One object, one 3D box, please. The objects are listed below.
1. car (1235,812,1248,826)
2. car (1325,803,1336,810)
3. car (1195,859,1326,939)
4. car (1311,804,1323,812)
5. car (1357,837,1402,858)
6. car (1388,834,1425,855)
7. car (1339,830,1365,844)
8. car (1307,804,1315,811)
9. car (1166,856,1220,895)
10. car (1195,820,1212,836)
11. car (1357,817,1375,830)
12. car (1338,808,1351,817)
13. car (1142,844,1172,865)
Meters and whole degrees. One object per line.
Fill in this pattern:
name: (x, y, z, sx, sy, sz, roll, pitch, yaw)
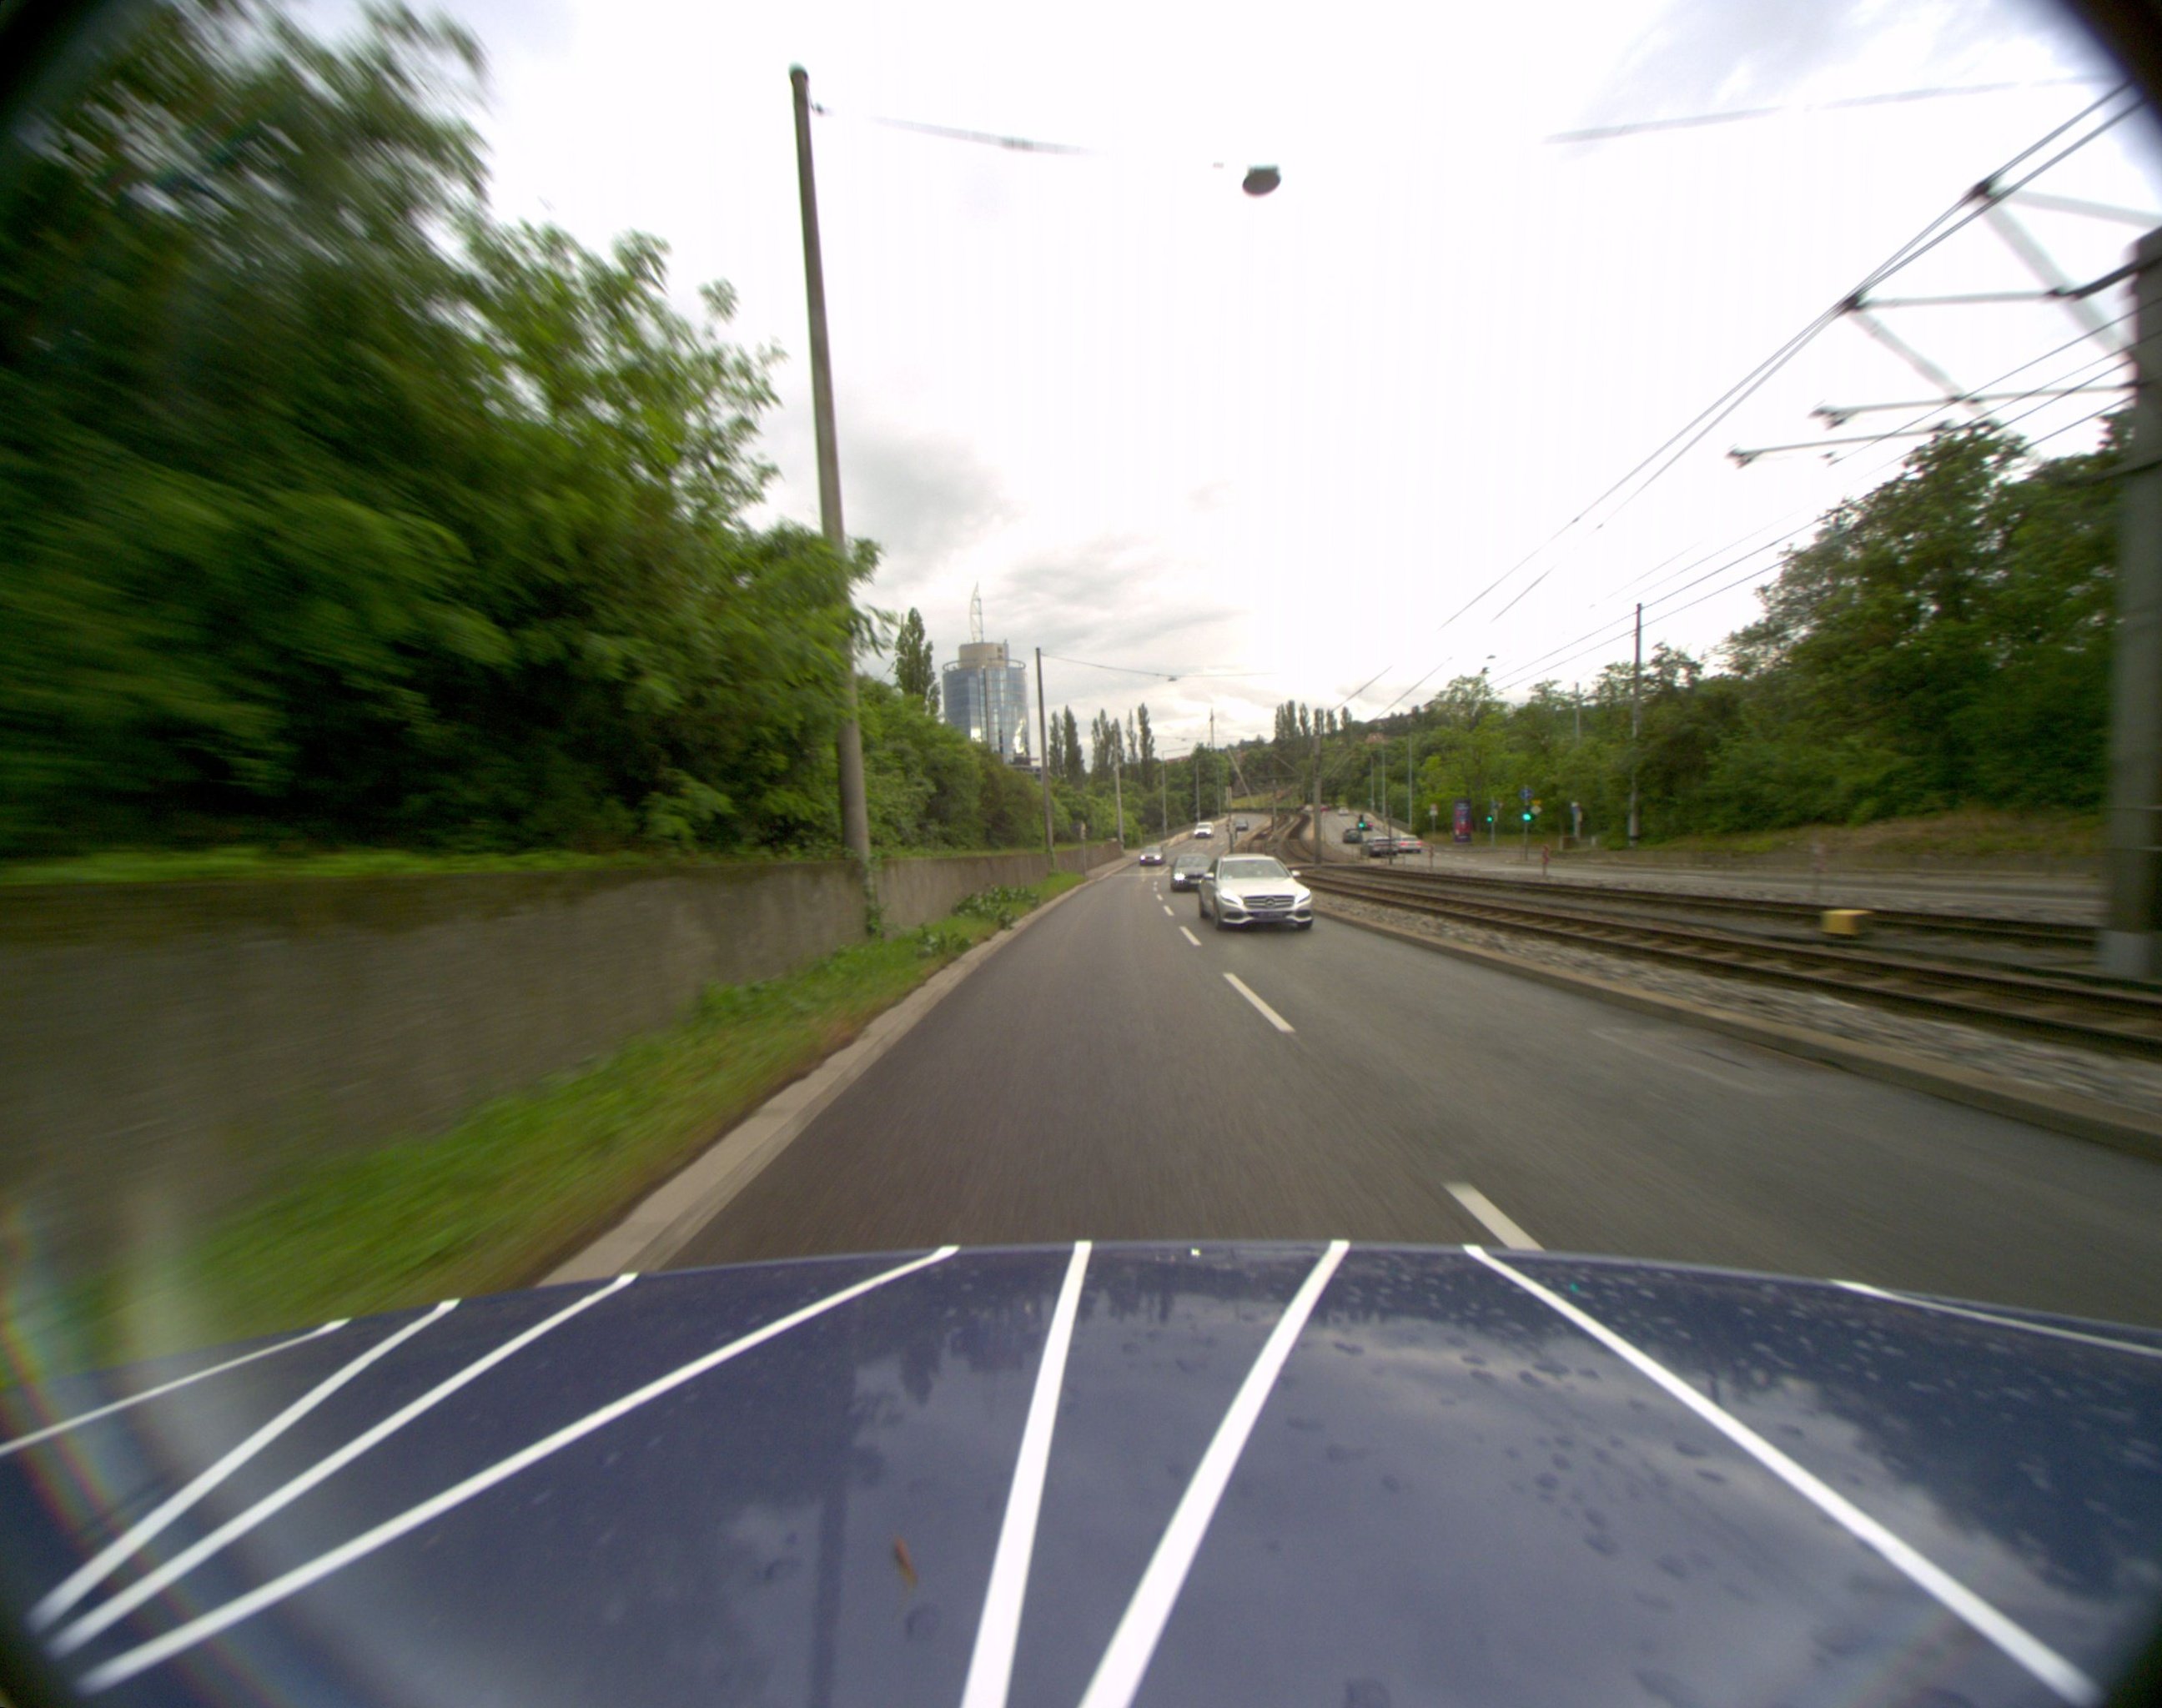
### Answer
car: (22.661, -4.976, 107.252, 1.766, 1.806, 4.003, -3, 1, 13)
car: (58.042, -11.079, 176.690, 1.972, 1.589, 5.186, 0, 4, 14)
car: (3.562, 0.837, 15.834, 1.871, 1.348, 4.060, -1, 0, 2)
car: (51.473, -10.017, 165.712, 1.851, 1.589, 4.731, -1, 4, 8)
car: (21.698, -0.445, 55.394, 1.865, 1.430, 4.858, 0, 0, 7)
car: (26.497, -0.819, 62.076, 1.822, 1.373, 4.705, -1, 5, 11)
car: (26.947, -1.733, 75.641, 1.636, 1.377, 3.896, 0, 2, 8)
car: (54.121, -10.962, 178.864, 1.732, 1.430, 4.492, 0, 6, 14)
car: (4.366, 0.802, 30.013, 1.735, 1.344, 4.001, -2, 0, 4)
car: (15.261, -3.200, 94.357, 1.766, 1.806, 4.003, -3, 1, 13)
car: (35.811, -3.844, 95.537, 1.718, 1.451, 4.277, -1, 4, 16)
car: (51.282, -8.130, 148.067, 1.824, 1.507, 4.529, -2, 5, 12)
car: (5.962, -0.004, 59.105, 1.766, 1.492, 4.003, -2, 1, 14)
